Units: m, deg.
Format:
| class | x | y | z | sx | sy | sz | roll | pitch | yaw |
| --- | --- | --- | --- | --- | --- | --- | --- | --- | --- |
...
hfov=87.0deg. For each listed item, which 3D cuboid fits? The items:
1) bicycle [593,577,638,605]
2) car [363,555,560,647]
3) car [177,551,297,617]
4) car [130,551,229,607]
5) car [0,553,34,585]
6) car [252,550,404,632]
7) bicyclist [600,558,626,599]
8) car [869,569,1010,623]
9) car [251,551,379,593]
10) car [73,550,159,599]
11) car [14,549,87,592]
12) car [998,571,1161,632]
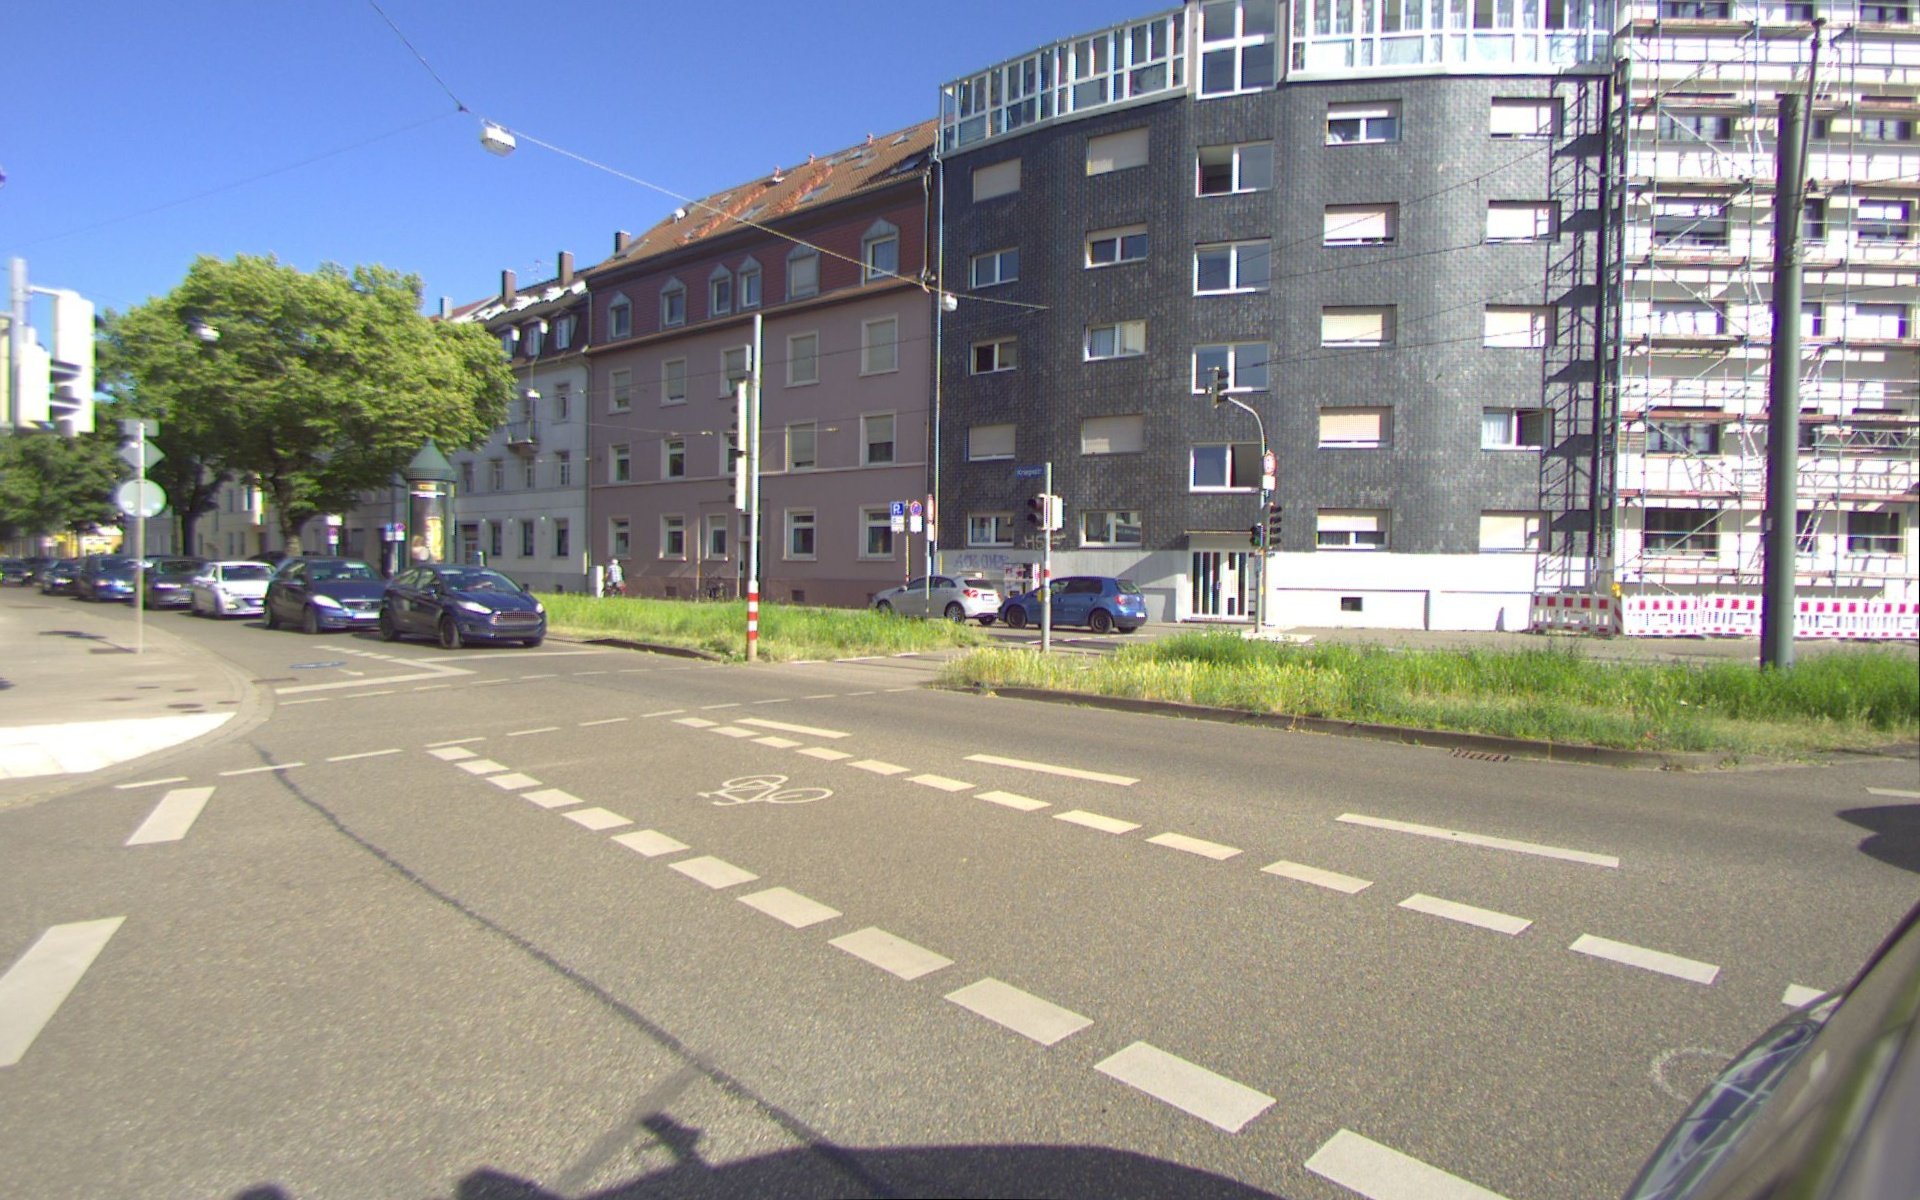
| class | x | y | z | sx | sy | sz | roll | pitch | yaw |
| --- | --- | --- | --- | --- | --- | --- | --- | --- | --- |
| bicycle | -12.328 | -0.328 | 36.214 | 1.986 | 0.967 | 0.500 | 2 | 2 | 37 |
| car | -9.090 | -0.027 | 18.333 | 3.982 | 1.471 | 1.709 | 2 | 1 | 40 |
| car | -19.085 | -0.467 | 26.667 | 3.982 | 1.600 | 1.635 | 2 | 2 | 40 |
| car | -23.690 | -0.674 | 30.685 | 3.754 | 1.600 | 1.635 | 2 | 2 | 40 |
| car | -49.935 | -1.648 | 53.020 | 3.754 | 1.600 | 1.635 | 2 | 2 | 40 |
| car | -13.585 | -0.244 | 21.675 | 3.982 | 1.600 | 1.635 | 2 | 2 | 40 |
| bicyclist | -12.463 | -0.776 | 36.305 | 0.800 | 1.426 | 0.503 | 2 | 1 | 36 |
| car | -0.638 | -0.147 | 29.646 | 3.979 | 1.433 | 1.666 | 2 | 2 | 38 |
| car | -25.726 | -1.128 | 40.530 | 3.916 | 1.593 | 2.005 | 0 | 2 | -16 |
| car | -28.977 | -0.892 | 34.713 | 3.754 | 1.600 | 1.635 | 2 | 2 | 40 |
| car | -35.957 | -1.181 | 39.988 | 3.754 | 1.600 | 1.635 | 2 | 2 | 40 |
| car | 3.104 | -0.001 | 26.686 | 3.979 | 1.433 | 1.666 | 2 | 2 | 38 |
